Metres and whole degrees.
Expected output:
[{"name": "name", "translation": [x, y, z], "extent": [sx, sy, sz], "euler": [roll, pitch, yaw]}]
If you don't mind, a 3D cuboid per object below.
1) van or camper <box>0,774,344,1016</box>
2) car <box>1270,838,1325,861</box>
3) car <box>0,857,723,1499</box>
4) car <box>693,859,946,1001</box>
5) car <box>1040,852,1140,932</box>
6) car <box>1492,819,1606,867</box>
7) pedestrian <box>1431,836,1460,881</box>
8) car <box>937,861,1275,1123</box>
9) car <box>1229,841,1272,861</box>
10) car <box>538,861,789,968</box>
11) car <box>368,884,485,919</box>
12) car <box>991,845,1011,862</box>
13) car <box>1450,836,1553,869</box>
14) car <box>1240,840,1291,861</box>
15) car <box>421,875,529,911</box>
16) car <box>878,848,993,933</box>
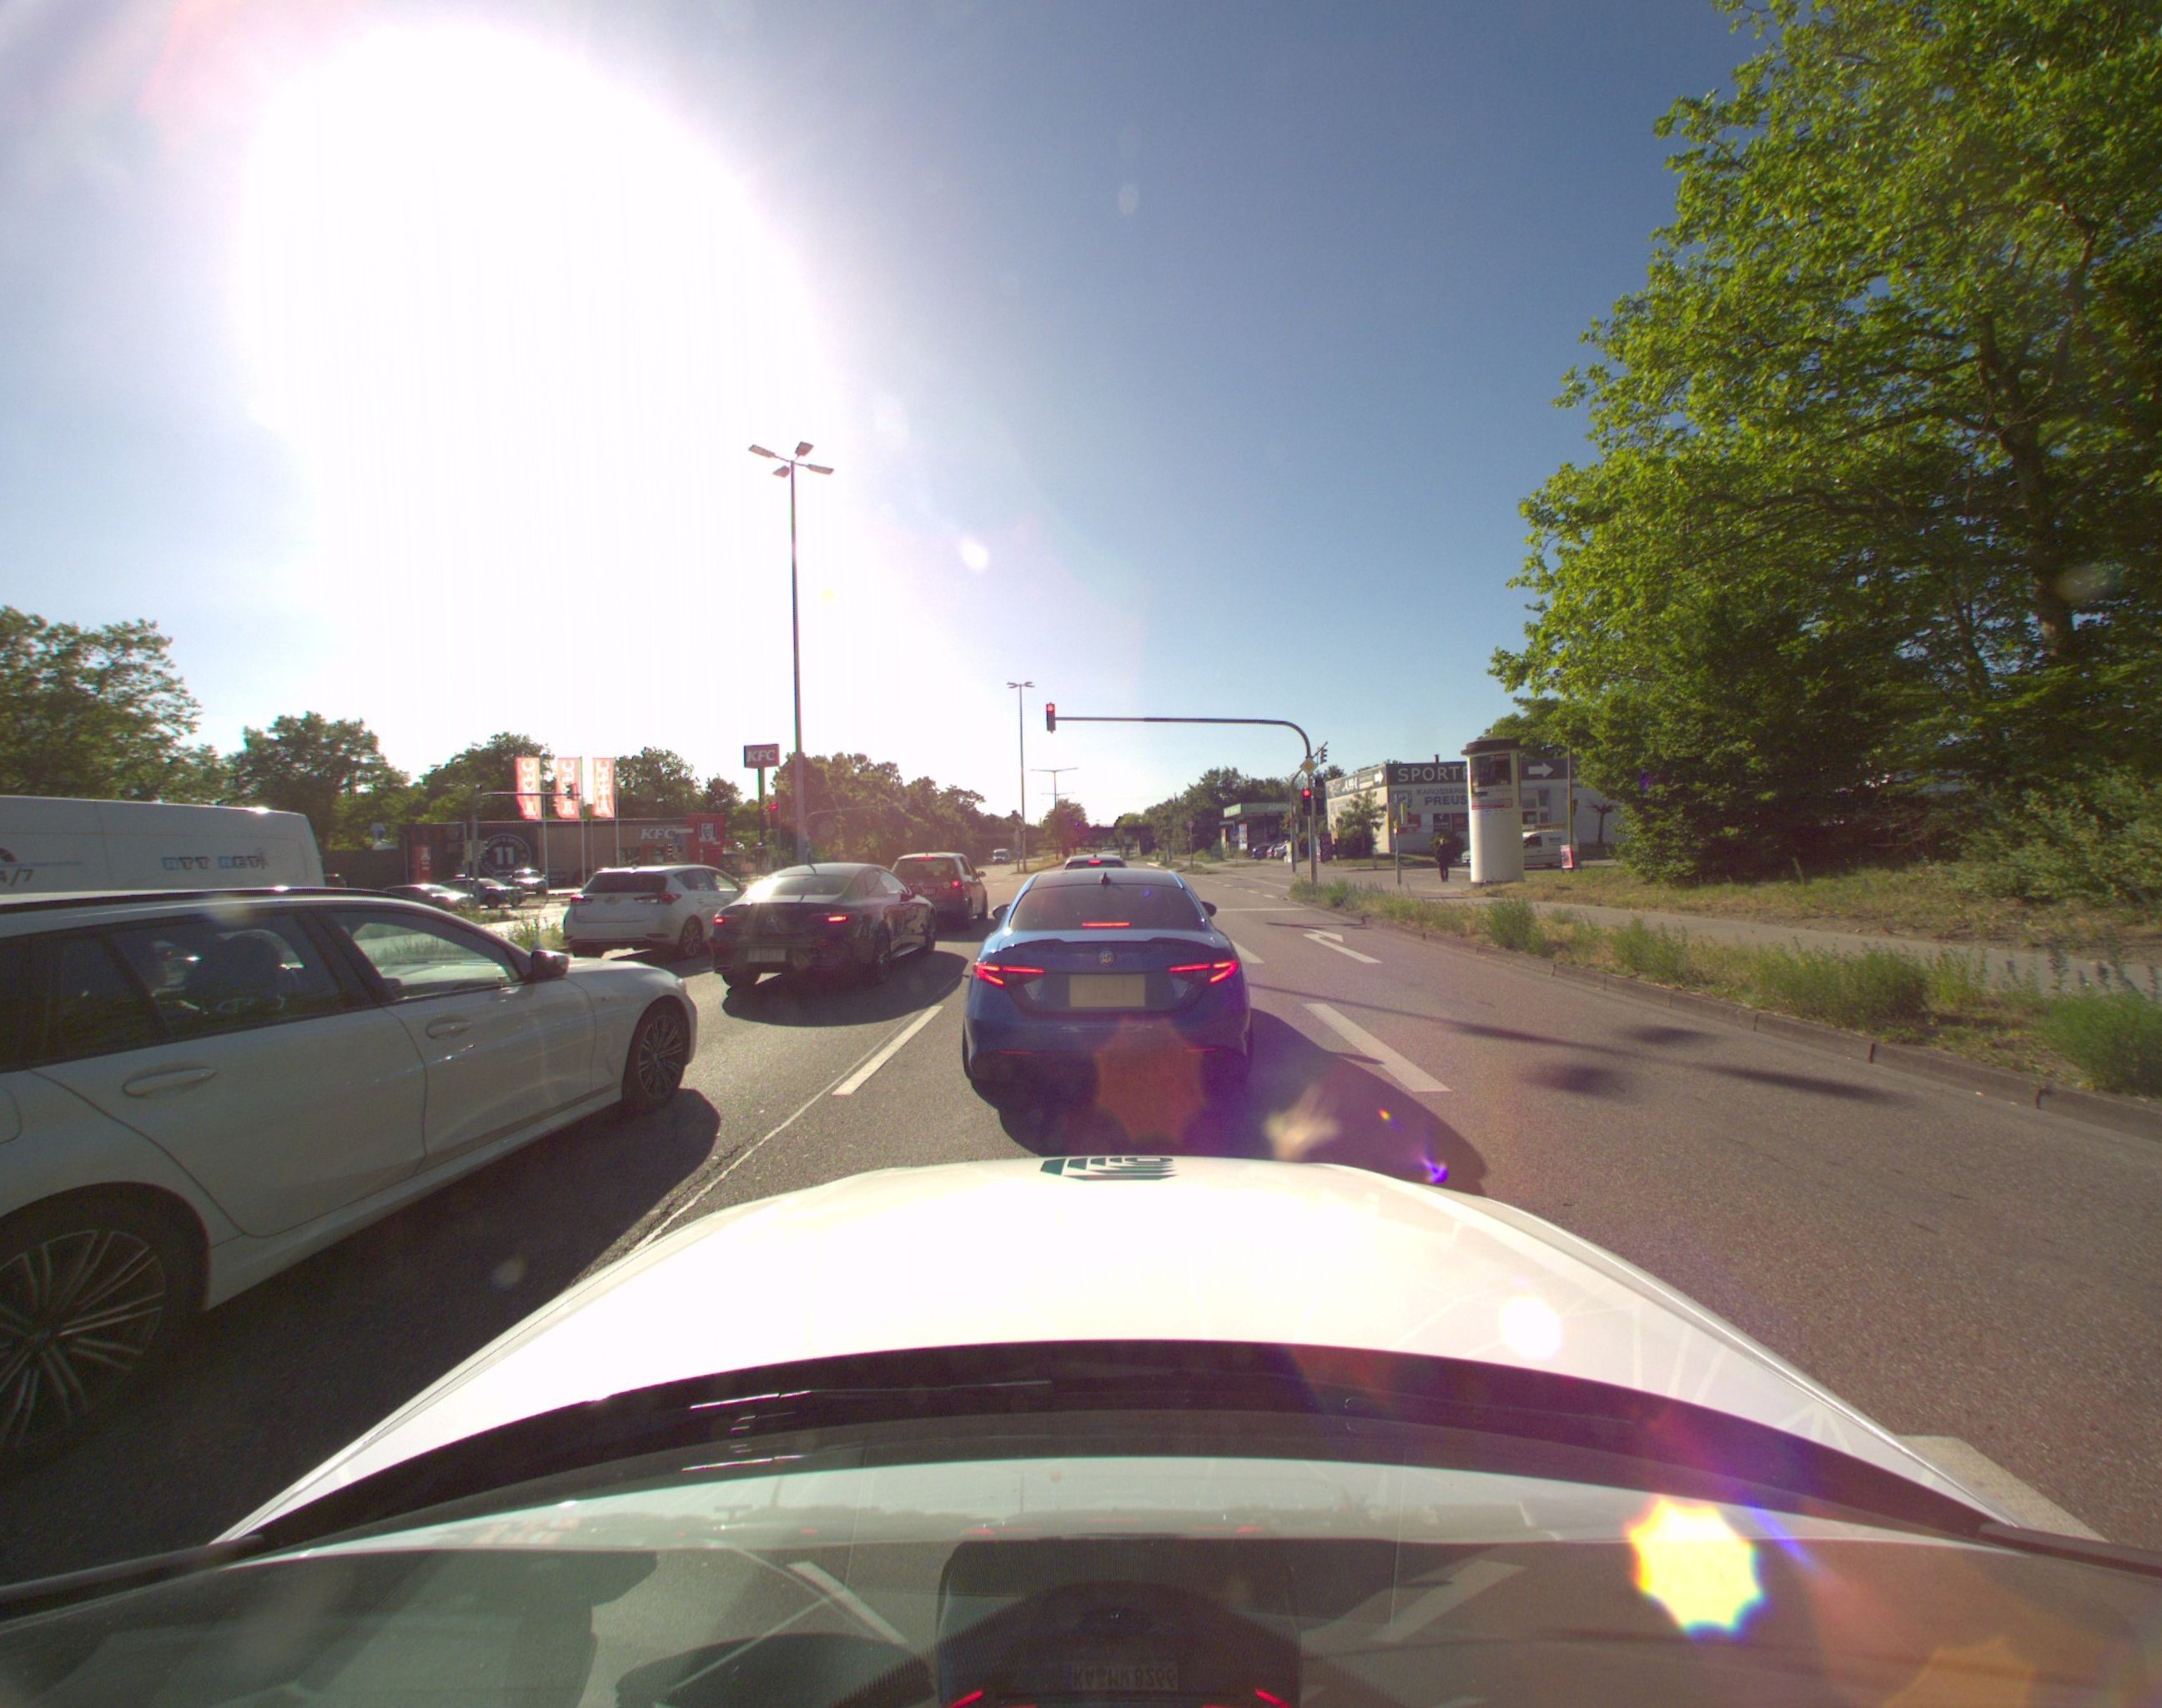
[{"name": "van or camper", "translation": [-12.554, 0.495, 9.122], "extent": [2.170, 2.572, 6.756], "euler": [-4, 0, 2]}, {"name": "car", "translation": [17.516, -0.364, 65.883], "extent": [3.993, 1.706, 1.687], "euler": [-2, 0, -15]}, {"name": "car", "translation": [-3.431, 0.803, 3.380], "extent": [1.762, 1.509, 4.463], "euler": [-2, 0, 2]}, {"name": "car", "translation": [-3.143, 0.818, 10.852], "extent": [1.762, 1.414, 4.463], "euler": [-2, 0, 2]}, {"name": "car", "translation": [0.232, 0.705, 17.216], "extent": [1.859, 1.450, 3.933], "euler": [-1, 0, 2]}, {"name": "car", "translation": [22.634, -0.527, 39.482], "extent": [4.393, 2.145, 1.999], "euler": [-1, 0, -2]}, {"name": "pedestrian", "translation": [14.231, 0.179, 31.831], "extent": [0.818, 1.721, 0.856], "euler": [-2, 0, 9]}, {"name": "car", "translation": [0.201, 0.792, 6.511], "extent": [1.859, 1.385, 3.933], "euler": [-1, 0, 2]}, {"name": "car", "translation": [15.390, -0.257, 73.986], "extent": [3.489, 1.706, 1.687], "euler": [-2, 0, -14]}, {"name": "car", "translation": [-6.773, 0.889, 13.873], "extent": [1.850, 1.429, 4.405], "euler": [-2, 0, 2]}, {"name": "car", "translation": [-30.573, 2.216, 38.108], "extent": [4.019, 1.429, 1.826], "euler": [-2, 0, 3]}, {"name": "car", "translation": [-12.329, -0.089, 125.914], "extent": [2.423, 2.427, 5.831], "euler": [-2, 0, 0]}, {"name": "car", "translation": [22.123, -0.073, 42.927], "extent": [4.393, 1.553, 1.999], "euler": [-1, 0, -2]}, {"name": "car", "translation": [16.046, -0.294, 70.777], "extent": [3.997, 1.706, 1.685], "euler": [-2, 0, -18]}, {"name": "car", "translation": [-30.823, 1.966, 41.507], "extent": [4.029, 1.595, 1.822], "euler": [-1, 0, -4]}, {"name": "car", "translation": [-3.018, 0.705, 17.700], "extent": [1.642, 1.598, 3.933], "euler": [-2, 0, 2]}]
